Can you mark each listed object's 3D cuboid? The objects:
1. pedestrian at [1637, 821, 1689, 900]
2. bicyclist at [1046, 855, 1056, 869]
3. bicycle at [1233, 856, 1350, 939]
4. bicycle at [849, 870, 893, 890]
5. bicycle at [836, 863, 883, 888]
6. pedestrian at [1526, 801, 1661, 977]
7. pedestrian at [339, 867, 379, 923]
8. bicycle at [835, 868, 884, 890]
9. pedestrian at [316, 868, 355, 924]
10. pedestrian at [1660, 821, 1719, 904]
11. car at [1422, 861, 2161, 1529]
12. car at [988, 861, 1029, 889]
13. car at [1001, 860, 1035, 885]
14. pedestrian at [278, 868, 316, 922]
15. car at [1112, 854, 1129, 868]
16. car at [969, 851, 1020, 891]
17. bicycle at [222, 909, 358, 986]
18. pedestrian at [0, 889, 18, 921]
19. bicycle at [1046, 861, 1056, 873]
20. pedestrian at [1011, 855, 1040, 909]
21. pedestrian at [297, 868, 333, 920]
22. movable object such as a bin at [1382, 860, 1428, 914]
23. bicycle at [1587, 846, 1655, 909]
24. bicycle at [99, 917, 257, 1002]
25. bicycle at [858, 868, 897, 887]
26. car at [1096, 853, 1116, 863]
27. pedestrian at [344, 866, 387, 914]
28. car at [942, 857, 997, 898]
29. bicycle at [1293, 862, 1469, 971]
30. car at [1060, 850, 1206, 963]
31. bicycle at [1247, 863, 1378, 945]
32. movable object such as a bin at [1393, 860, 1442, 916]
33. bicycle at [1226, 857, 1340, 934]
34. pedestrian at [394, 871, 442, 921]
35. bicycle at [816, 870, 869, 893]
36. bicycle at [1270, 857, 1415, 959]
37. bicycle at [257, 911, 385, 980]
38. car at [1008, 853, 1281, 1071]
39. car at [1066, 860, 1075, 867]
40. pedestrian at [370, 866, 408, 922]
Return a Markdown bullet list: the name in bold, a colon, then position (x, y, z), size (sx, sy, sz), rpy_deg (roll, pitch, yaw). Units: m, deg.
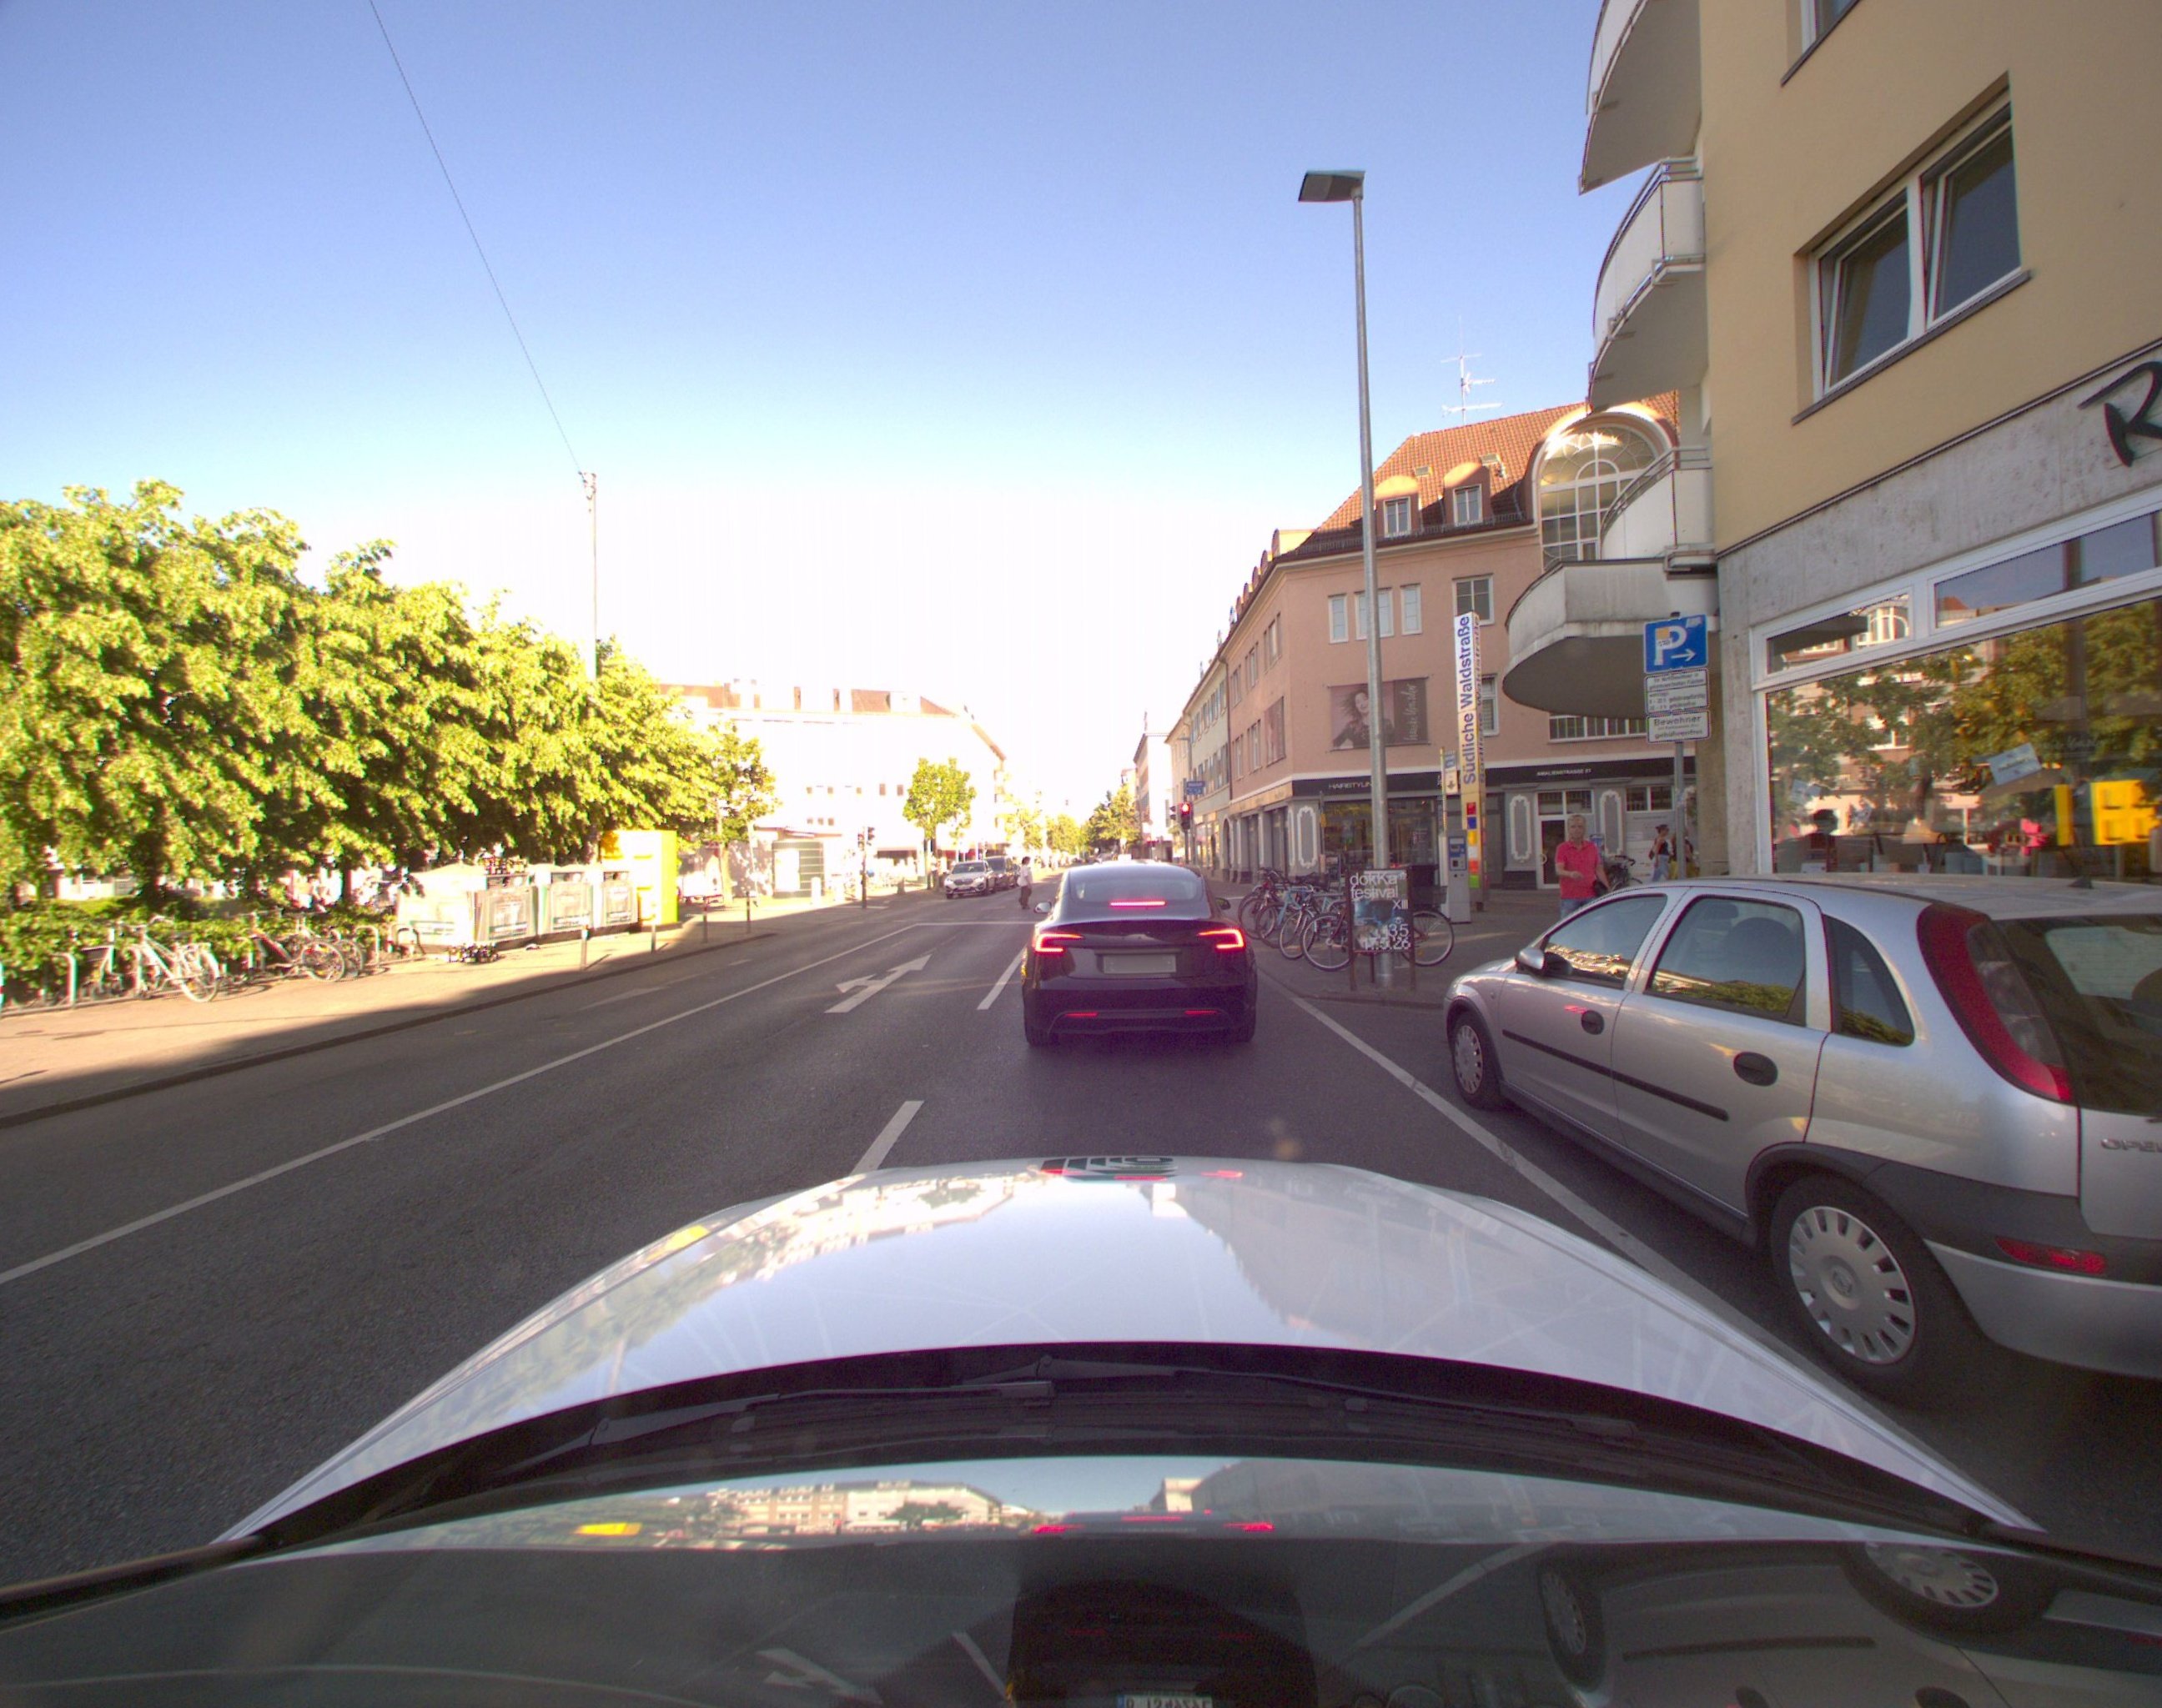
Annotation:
- **pedestrian**: position (13.023, 0.151, 18.240), size (0.771, 1.683, 0.832), rpy_deg (-4, -3, 29)
- **bicyclist**: position (-3.507, 0.932, 95.883), size (1.123, 1.628, 0.965), rpy_deg (-1, 0, -1)
- **bicycle**: position (3.504, 0.711, 13.684), size (1.738, 1.267, 0.782), rpy_deg (-3, -1, 4)
- **bicycle**: position (-12.952, 1.573, 50.253), size (2.528, 1.156, 0.841), rpy_deg (-1, 0, -4)
- **bicycle**: position (-12.908, 1.247, 47.494), size (2.472, 1.324, 0.921), rpy_deg (-1, 0, -4)
- **pedestrian**: position (5.564, 0.365, 8.919), size (0.859, 1.784, 1.011), rpy_deg (-3, -1, 10)
- **pedestrian**: position (-26.595, 1.490, 29.991), size (0.980, 2.013, 0.910), rpy_deg (-2, -1, 38)
- **bicycle**: position (-12.378, 1.367, 45.548), size (2.453, 1.156, 0.843), rpy_deg (-1, 0, 0)
- **pedestrian**: position (-27.636, 1.539, 30.197), size (0.980, 2.013, 0.910), rpy_deg (-2, -1, 38)
- **pedestrian**: position (12.940, 0.182, 17.344), size (0.703, 1.713, 0.740), rpy_deg (-1, 0, 8)
- **car**: position (2.967, 0.731, 3.521), size (1.607, 1.382, 3.645), rpy_deg (0, 0, 2)
- **car**: position (-4.365, 1.235, 49.678), size (1.988, 1.410, 4.672), rpy_deg (-5, 0, -1)
- **car**: position (-4.395, 1.260, 57.275), size (1.988, 1.436, 4.672), rpy_deg (-5, 0, -1)
- **pedestrian**: position (-30.415, 1.571, 31.604), size (0.980, 2.013, 0.910), rpy_deg (-2, -1, 38)
- **car**: position (4.910, 0.879, 100.759), size (1.986, 1.629, 4.002), rpy_deg (-1, 0, 2)
- **car**: position (-4.489, 0.854, 42.855), size (1.827, 1.845, 4.677), rpy_deg (-5, 0, 2)
- **bicycle**: position (-11.321, 1.333, 11.668), size (1.561, 1.023, 0.430), rpy_deg (-1, 0, 3)
- **pedestrian**: position (-68.298, 3.234, 51.630), size (1.385, 2.013, 0.910), rpy_deg (-2, 0, 44)
- **bicycle**: position (-3.480, 1.547, 95.786), size (1.108, 1.344, 3.998), rpy_deg (-1, 0, -1)
- **pedestrian**: position (-1.632, 0.814, 23.987), size (0.747, 1.552, 0.696), rpy_deg (-1, 0, -11)
- **pedestrian**: position (-30.580, 1.567, 32.515), size (0.980, 2.013, 0.910), rpy_deg (-2, -1, 38)
- **movable object such as a bin**: position (6.750, 0.678, 16.978), size (0.730, 1.092, 0.628), rpy_deg (0, -1, 3)
- **bicycle**: position (11.048, 0.446, 16.725), size (0.653, 1.199, 2.223), rpy_deg (-2, 0, 21)
- **bicycle**: position (-11.457, 1.328, 10.348), size (1.590, 1.018, 0.430), rpy_deg (-1, 0, 3)
- **bicycle**: position (-13.168, 1.518, 52.688), size (2.318, 1.156, 0.841), rpy_deg (-1, 0, -4)
- **car**: position (5.119, 0.858, 167.672), size (3.974, 2.013, 2.000), rpy_deg (-1, 0, 0)
- **pedestrian**: position (-31.079, 1.552, 35.374), size (1.206, 2.013, 0.909), rpy_deg (-1, 0, 22)
- **car**: position (-4.946, 0.993, 36.610), size (1.802, 1.555, 4.308), rpy_deg (-5, 0, -1)
- **bicycle**: position (3.636, 0.752, 10.015), size (1.876, 1.193, 0.693), rpy_deg (-3, 0, 7)
- **car**: position (0.737, 0.724, 13.311), size (1.987, 1.512, 4.175), rpy_deg (-1, 0, 0)
- **bicycle**: position (3.519, 0.754, 12.503), size (1.788, 1.124, 0.783), rpy_deg (-3, -1, 7)
- **movable object such as a bin**: position (6.741, 0.672, 16.341), size (0.749, 1.092, 0.628), rpy_deg (0, -1, 3)
- **bicycle**: position (3.620, 0.740, 14.712), size (1.851, 1.258, 0.834), rpy_deg (-3, -1, 7)
- **pedestrian**: position (-27.183, 1.712, 33.398), size (1.272, 2.013, 0.908), rpy_deg (-1, 0, 13)
- **bicycle**: position (-12.584, 1.439, 43.018), size (2.497, 1.156, 0.843), rpy_deg (-1, 0, 0)
- **bicycle**: position (3.539, 0.726, 11.151), size (1.713, 1.268, 0.792), rpy_deg (-3, -1, 7)
- **bicycle**: position (-11.368, 1.356, 12.193), size (1.517, 0.958, 0.431), rpy_deg (-1, 1, 3)
- **car**: position (0.496, 0.757, 7.603), size (1.841, 1.455, 4.001), rpy_deg (-1, 0, 2)
- **car**: position (-2.487, 2.172, 187.368), size (1.988, 1.637, 3.998), rpy_deg (-1, 0, -1)
- **pedestrian**: position (-26.091, 1.489, 30.716), size (0.980, 2.013, 0.910), rpy_deg (-2, -1, 38)
